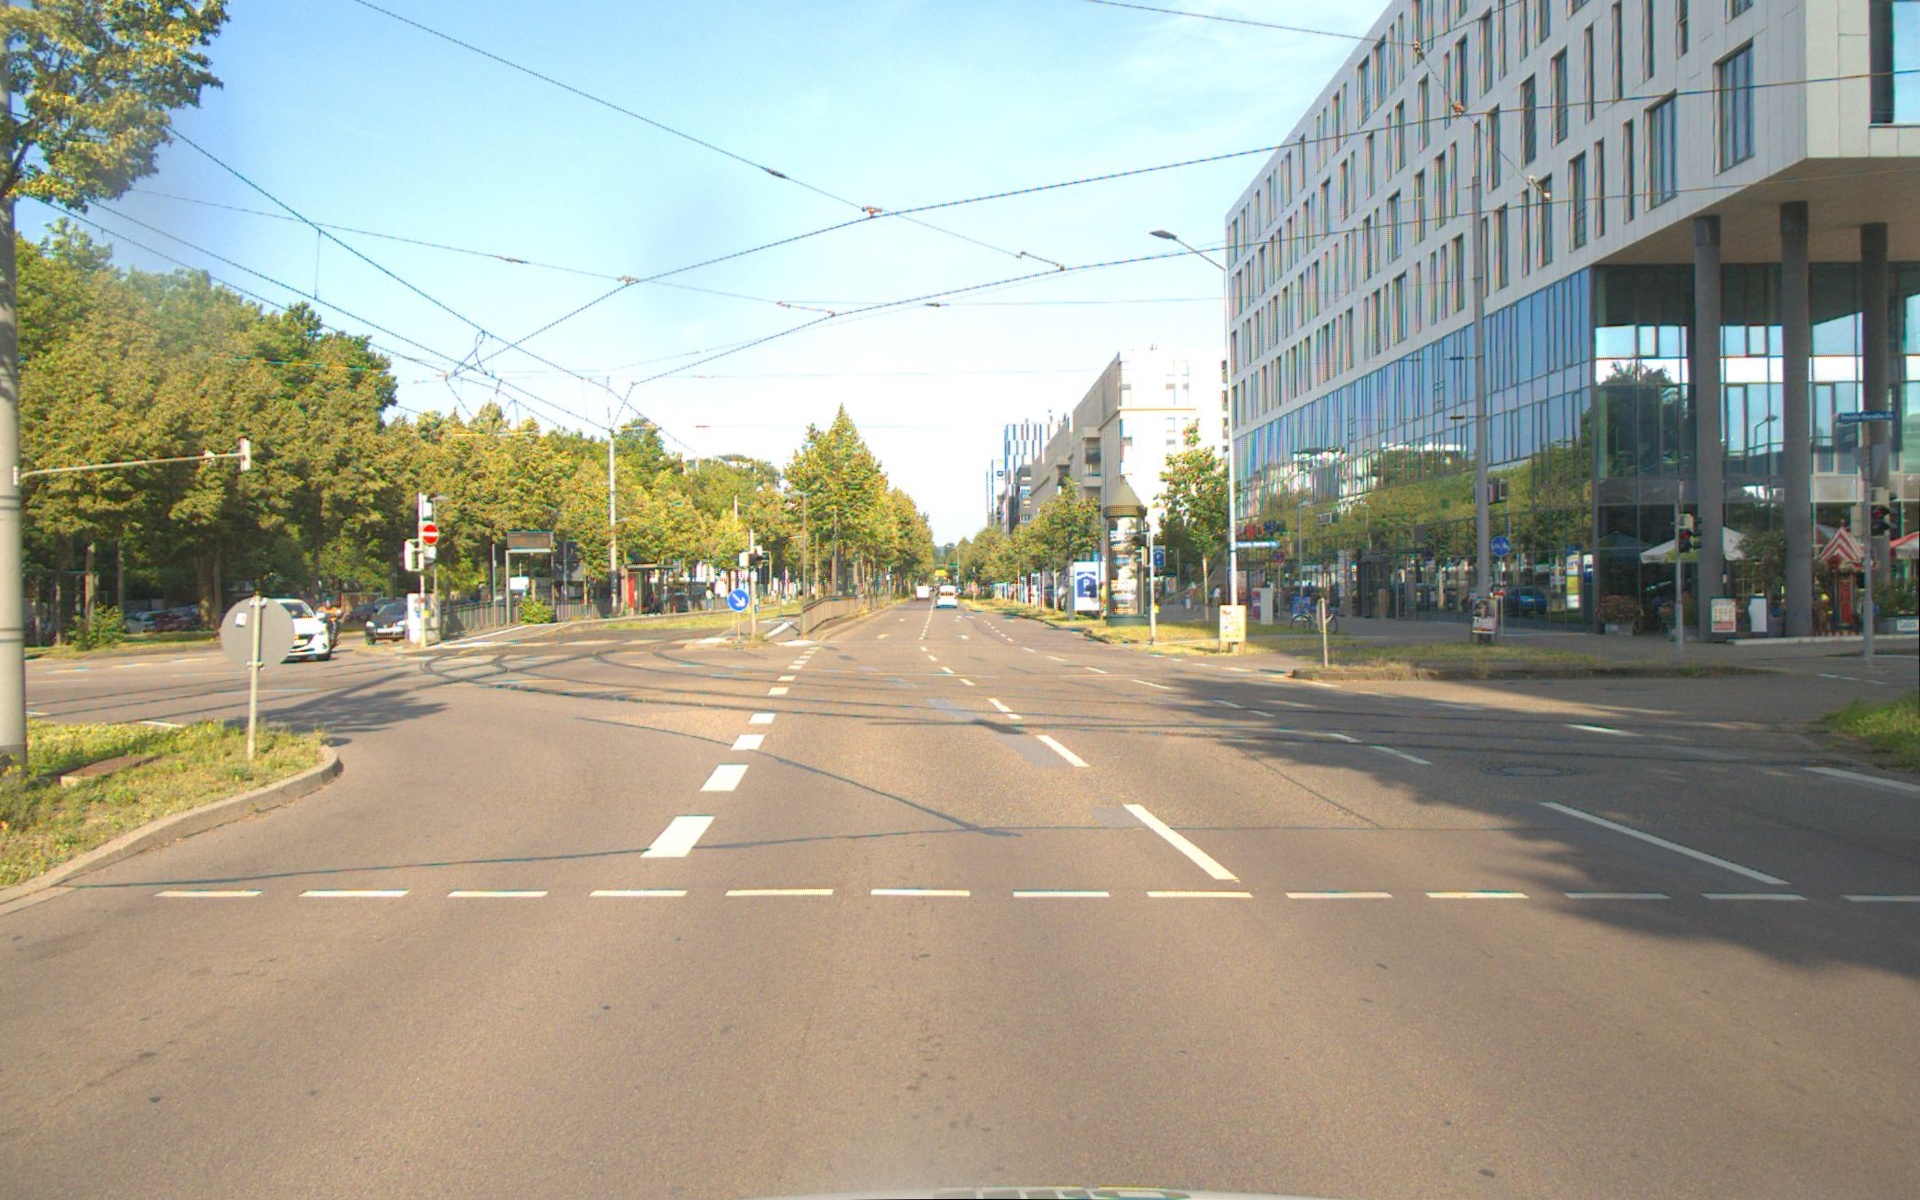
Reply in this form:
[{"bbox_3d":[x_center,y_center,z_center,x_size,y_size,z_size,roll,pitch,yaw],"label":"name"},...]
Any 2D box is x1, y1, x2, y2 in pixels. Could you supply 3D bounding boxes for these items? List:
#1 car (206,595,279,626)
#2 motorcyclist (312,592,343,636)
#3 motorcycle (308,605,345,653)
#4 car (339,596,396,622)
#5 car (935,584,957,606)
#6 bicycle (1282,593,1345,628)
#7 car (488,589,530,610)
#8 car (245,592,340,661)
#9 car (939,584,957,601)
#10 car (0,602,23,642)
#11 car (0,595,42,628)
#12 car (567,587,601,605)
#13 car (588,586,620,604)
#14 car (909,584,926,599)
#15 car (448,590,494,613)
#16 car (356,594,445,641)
[{"bbox_3d":[-38.137,0.545,87.995,1.841,1.586,4.002,-1,0,4],"label":"car"},{"bbox_3d":[-18.063,0.404,47.230,0.770,1.223,0.843,1,1,-18],"label":"motorcyclist"},{"bbox_3d":[-18.152,0.821,47.437,0.805,1.285,2.537,0,1,-17],"label":"motorcycle"},{"bbox_3d":[-36.891,0.537,103.040,1.841,1.586,4.002,-1,0,4],"label":"car"},{"bbox_3d":[-1.170,-0.419,138.070,1.826,1.713,4.000,1,1,0],"label":"car"},{"bbox_3d":[11.355,0.321,53.141,0.768,1.050,1.848,-1,3,-44],"label":"bicycle"},{"bbox_3d":[-35.047,-0.019,128.550,1.841,1.586,4.002,-1,0,4],"label":"car"},{"bbox_3d":[-16.045,0.612,39.659,1.968,1.530,4.062,-1,0,-24],"label":"car"},{"bbox_3d":[-1.268,-0.772,172.356,1.826,1.713,4.000,1,1,0],"label":"car"},{"bbox_3d":[-39.340,0.889,65.584,1.841,1.586,4.002,-1,0,4],"label":"car"},{"bbox_3d":[-46.669,0.562,80.216,1.841,1.586,4.002,-1,0,4],"label":"car"},{"bbox_3d":[-33.865,-0.360,148.990,1.841,1.586,4.002,-1,0,4],"label":"car"},{"bbox_3d":[-33.423,-0.457,155.420,1.841,1.586,4.002,-1,0,4],"label":"car"},{"bbox_3d":[-5.310,-1.069,207.300,1.973,1.713,4.000,1,1,0],"label":"car"},{"bbox_3d":[-35.630,0.102,120.619,1.841,1.586,4.002,-1,0,4],"label":"car"},{"bbox_3d":[-19.533,0.642,57.923,1.694,1.487,4.572,-1,-2,-2],"label":"car"}]
